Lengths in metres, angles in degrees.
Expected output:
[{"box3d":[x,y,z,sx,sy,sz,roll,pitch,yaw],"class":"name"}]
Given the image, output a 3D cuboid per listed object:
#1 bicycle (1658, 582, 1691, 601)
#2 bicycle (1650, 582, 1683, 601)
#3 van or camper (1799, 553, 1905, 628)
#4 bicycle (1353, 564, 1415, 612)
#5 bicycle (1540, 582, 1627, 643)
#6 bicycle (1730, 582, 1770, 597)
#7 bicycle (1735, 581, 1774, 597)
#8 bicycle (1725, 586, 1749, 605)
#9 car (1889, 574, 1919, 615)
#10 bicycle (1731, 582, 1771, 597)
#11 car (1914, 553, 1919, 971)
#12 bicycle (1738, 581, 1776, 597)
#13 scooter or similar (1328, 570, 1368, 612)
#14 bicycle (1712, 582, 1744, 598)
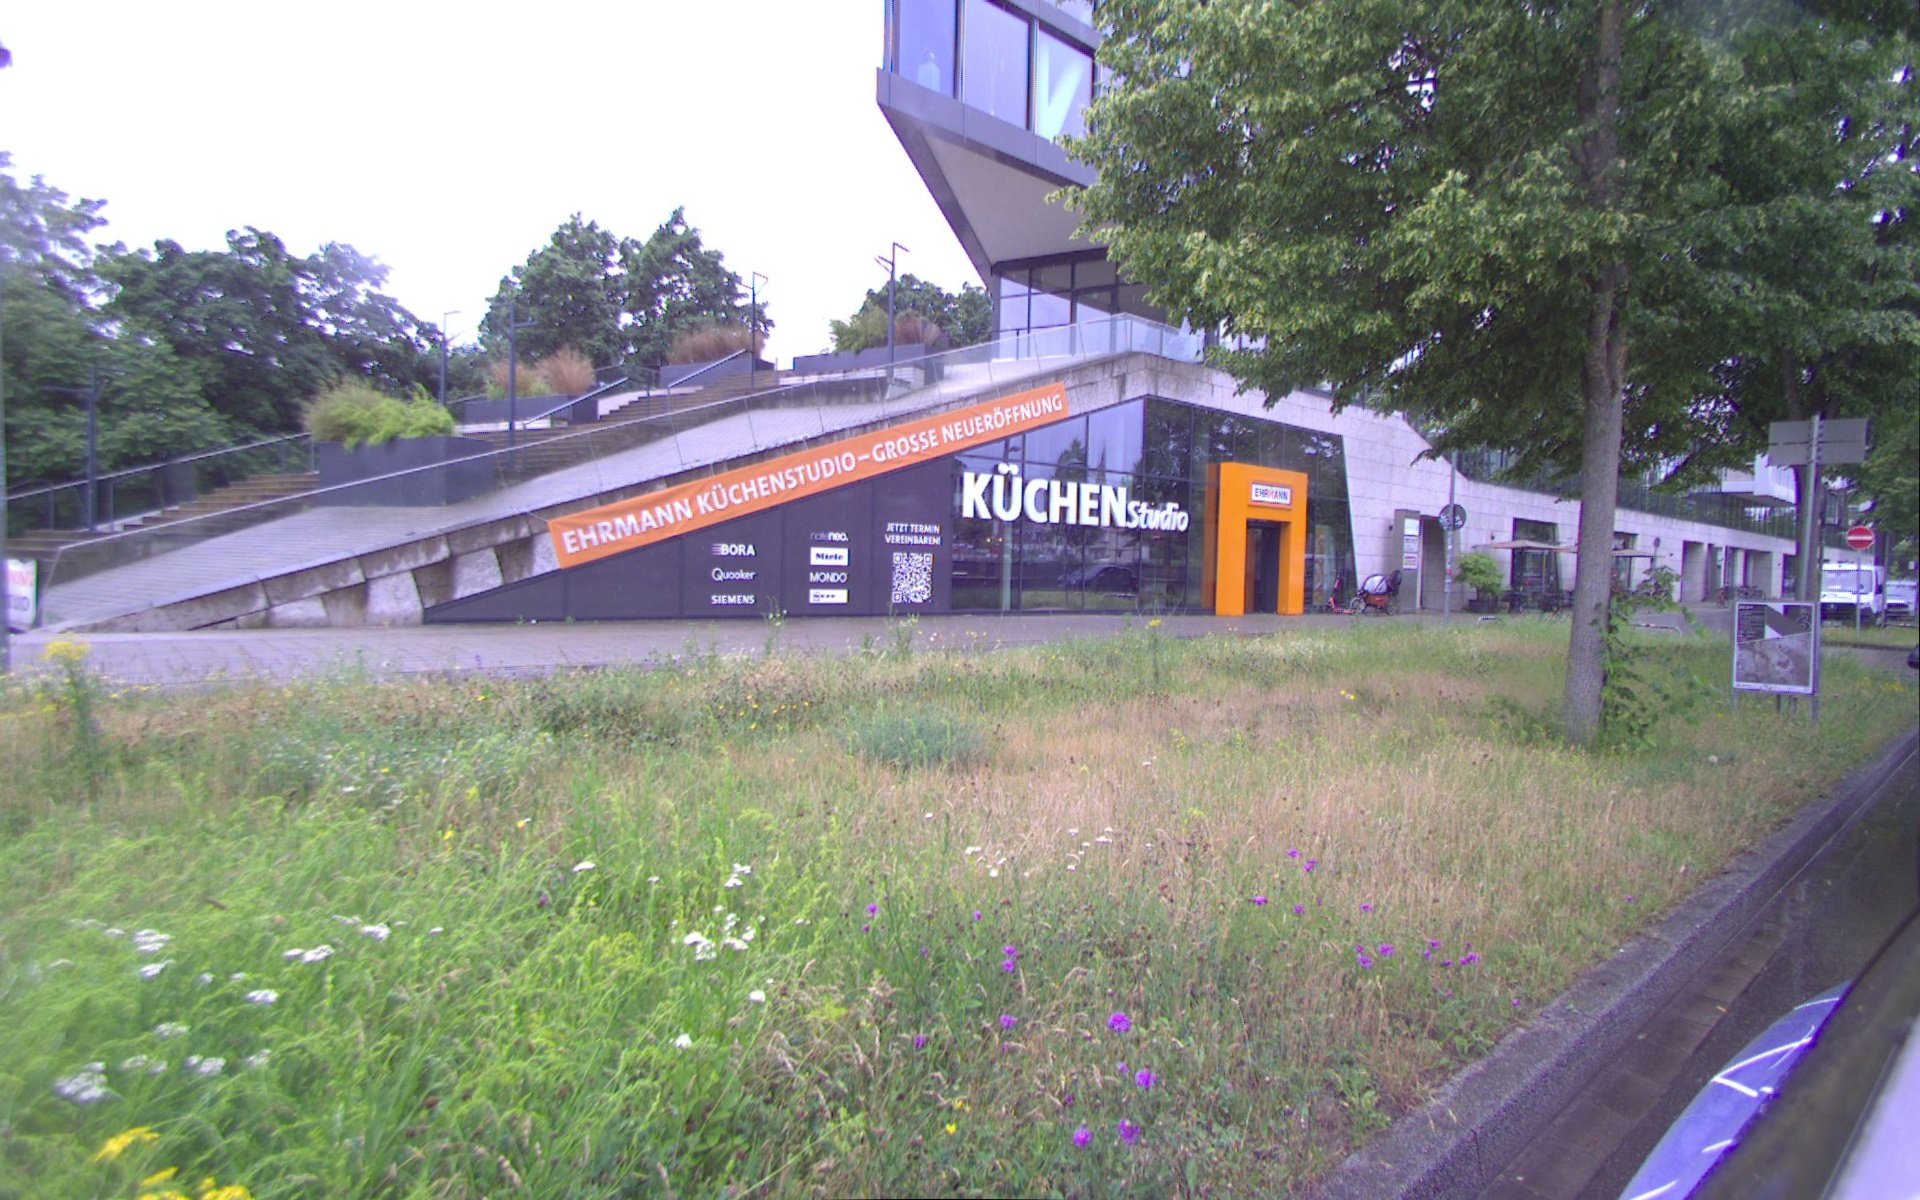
[{"box3d":[37.240,-0.462,52.788,0.388,0.958,2.028,-1,1,4],"class":"bicycle"},{"box3d":[36.619,-0.450,52.466,0.388,0.958,2.028,-1,1,4],"class":"bicycle"},{"box3d":[29.634,-0.366,33.568,5.367,2.320,2.028,-1,2,-42],"class":"van or camper"},{"box3d":[13.302,-0.374,31.697,2.382,1.419,0.734,0,3,-41],"class":"bicycle"},{"box3d":[14.592,0.275,23.750,0.521,1.363,1.852,2,1,-16],"class":"bicycle"},{"box3d":[52.595,-0.704,67.410,0.389,0.957,2.025,-1,4,-45],"class":"bicycle"},{"box3d":[53.909,-0.740,68.703,0.389,0.957,2.025,-1,4,-45],"class":"bicycle"},{"box3d":[40.511,-0.233,52.758,1.823,0.957,0.403,-1,2,-34],"class":"bicycle"},{"box3d":[43.535,-0.275,45.782,4.766,1.781,1.744,-1,2,-42],"class":"car"},{"box3d":[53.063,-0.714,67.917,0.389,0.957,2.025,-1,4,-45],"class":"bicycle"},{"box3d":[5.807,0.595,4.550,3.930,1.632,1.814,-1,1,-41],"class":"car"},{"box3d":[54.784,-0.750,69.567,0.389,0.957,2.025,-1,4,-45],"class":"bicycle"},{"box3d":[11.766,-0.283,30.654,1.214,1.243,0.343,-1,0,-22],"class":"scooter or similar"},{"box3d":[49.469,-0.673,65.226,0.339,0.957,1.665,0,3,-22],"class":"bicycle"}]
